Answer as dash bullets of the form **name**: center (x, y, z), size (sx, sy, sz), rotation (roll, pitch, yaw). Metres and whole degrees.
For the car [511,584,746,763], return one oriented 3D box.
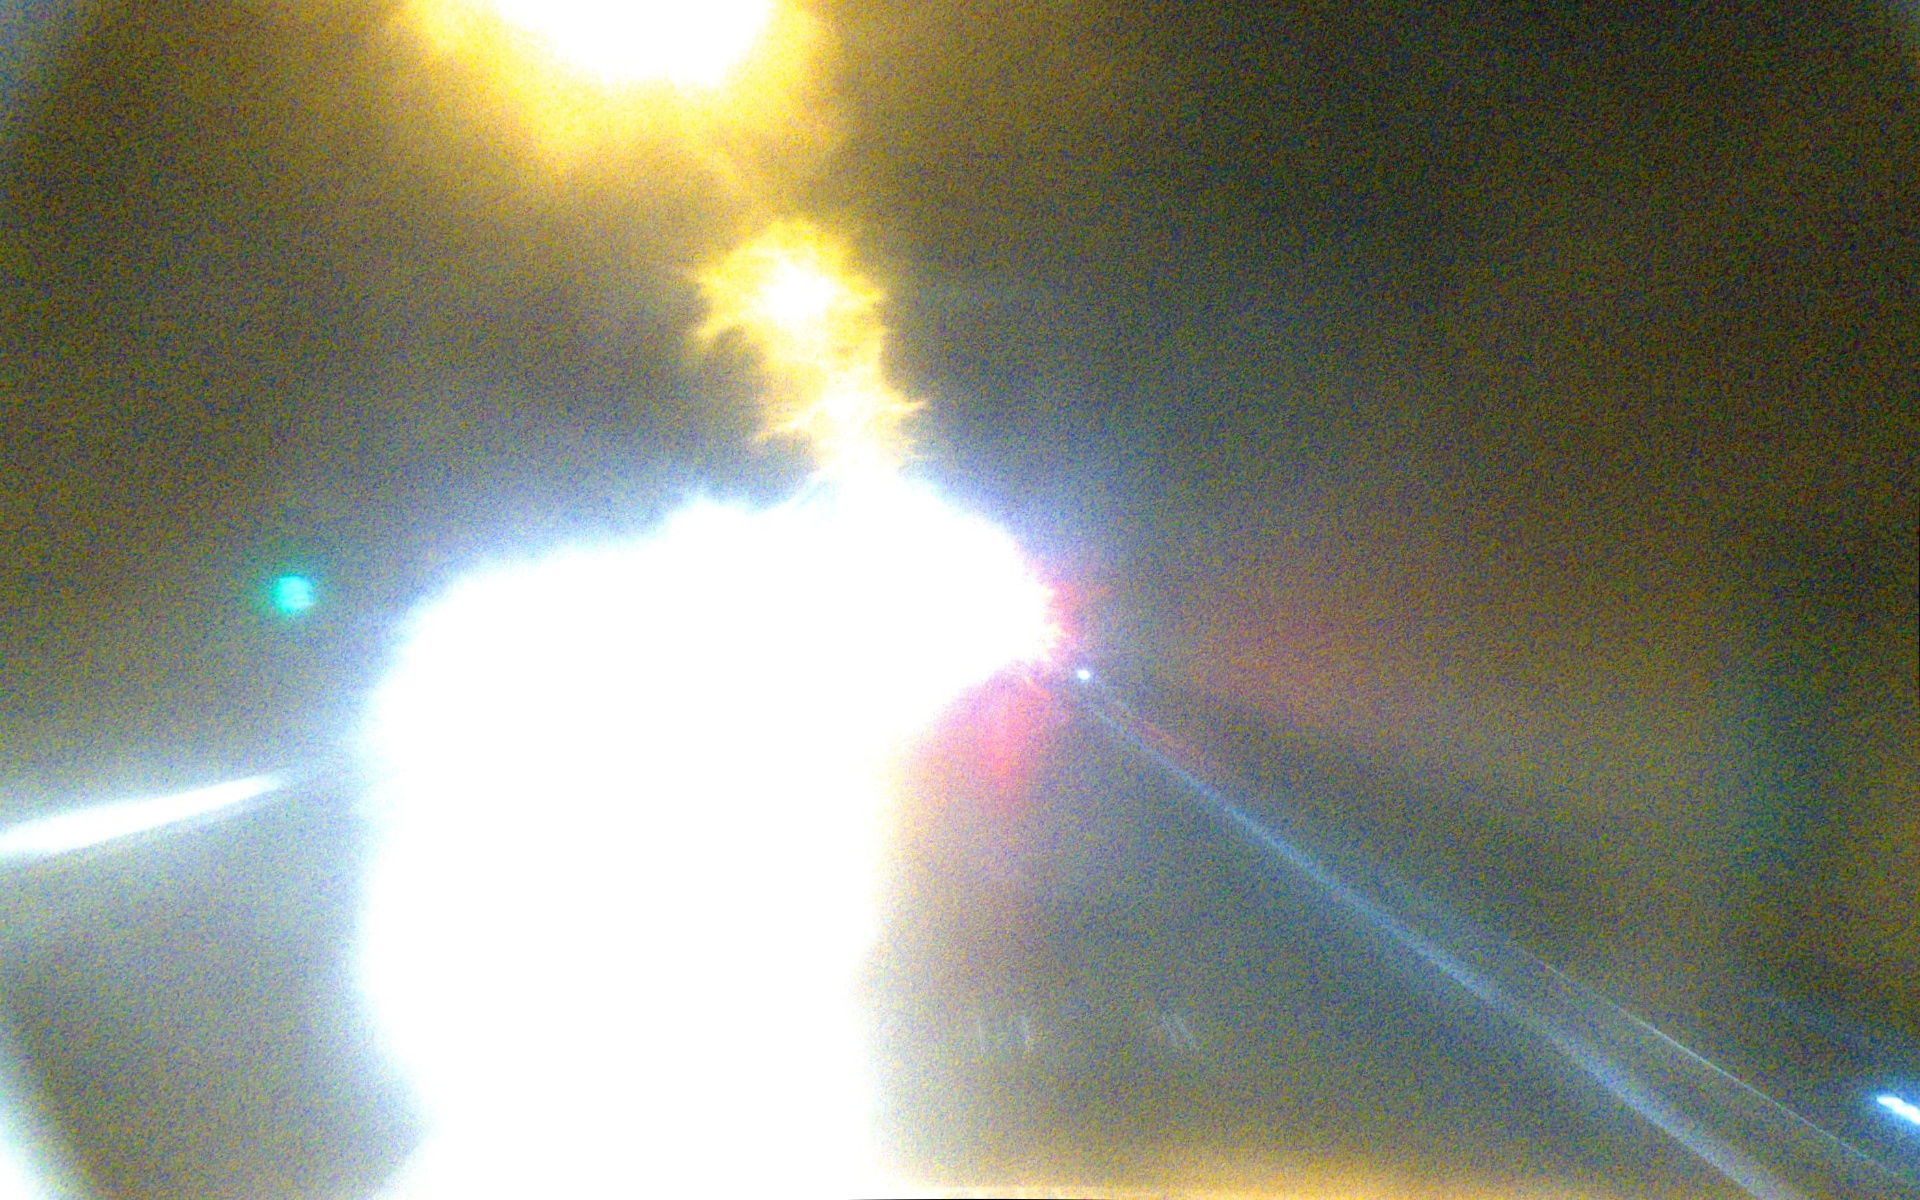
- **car**: center (-3.187, 0.635, 16.544), size (1.602, 1.561, 3.646), rotation (-1, 1, 0)

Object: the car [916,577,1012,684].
- **car**: center (0.064, 0.485, 29.989), size (1.602, 1.788, 4.145), rotation (-1, 1, 0)
